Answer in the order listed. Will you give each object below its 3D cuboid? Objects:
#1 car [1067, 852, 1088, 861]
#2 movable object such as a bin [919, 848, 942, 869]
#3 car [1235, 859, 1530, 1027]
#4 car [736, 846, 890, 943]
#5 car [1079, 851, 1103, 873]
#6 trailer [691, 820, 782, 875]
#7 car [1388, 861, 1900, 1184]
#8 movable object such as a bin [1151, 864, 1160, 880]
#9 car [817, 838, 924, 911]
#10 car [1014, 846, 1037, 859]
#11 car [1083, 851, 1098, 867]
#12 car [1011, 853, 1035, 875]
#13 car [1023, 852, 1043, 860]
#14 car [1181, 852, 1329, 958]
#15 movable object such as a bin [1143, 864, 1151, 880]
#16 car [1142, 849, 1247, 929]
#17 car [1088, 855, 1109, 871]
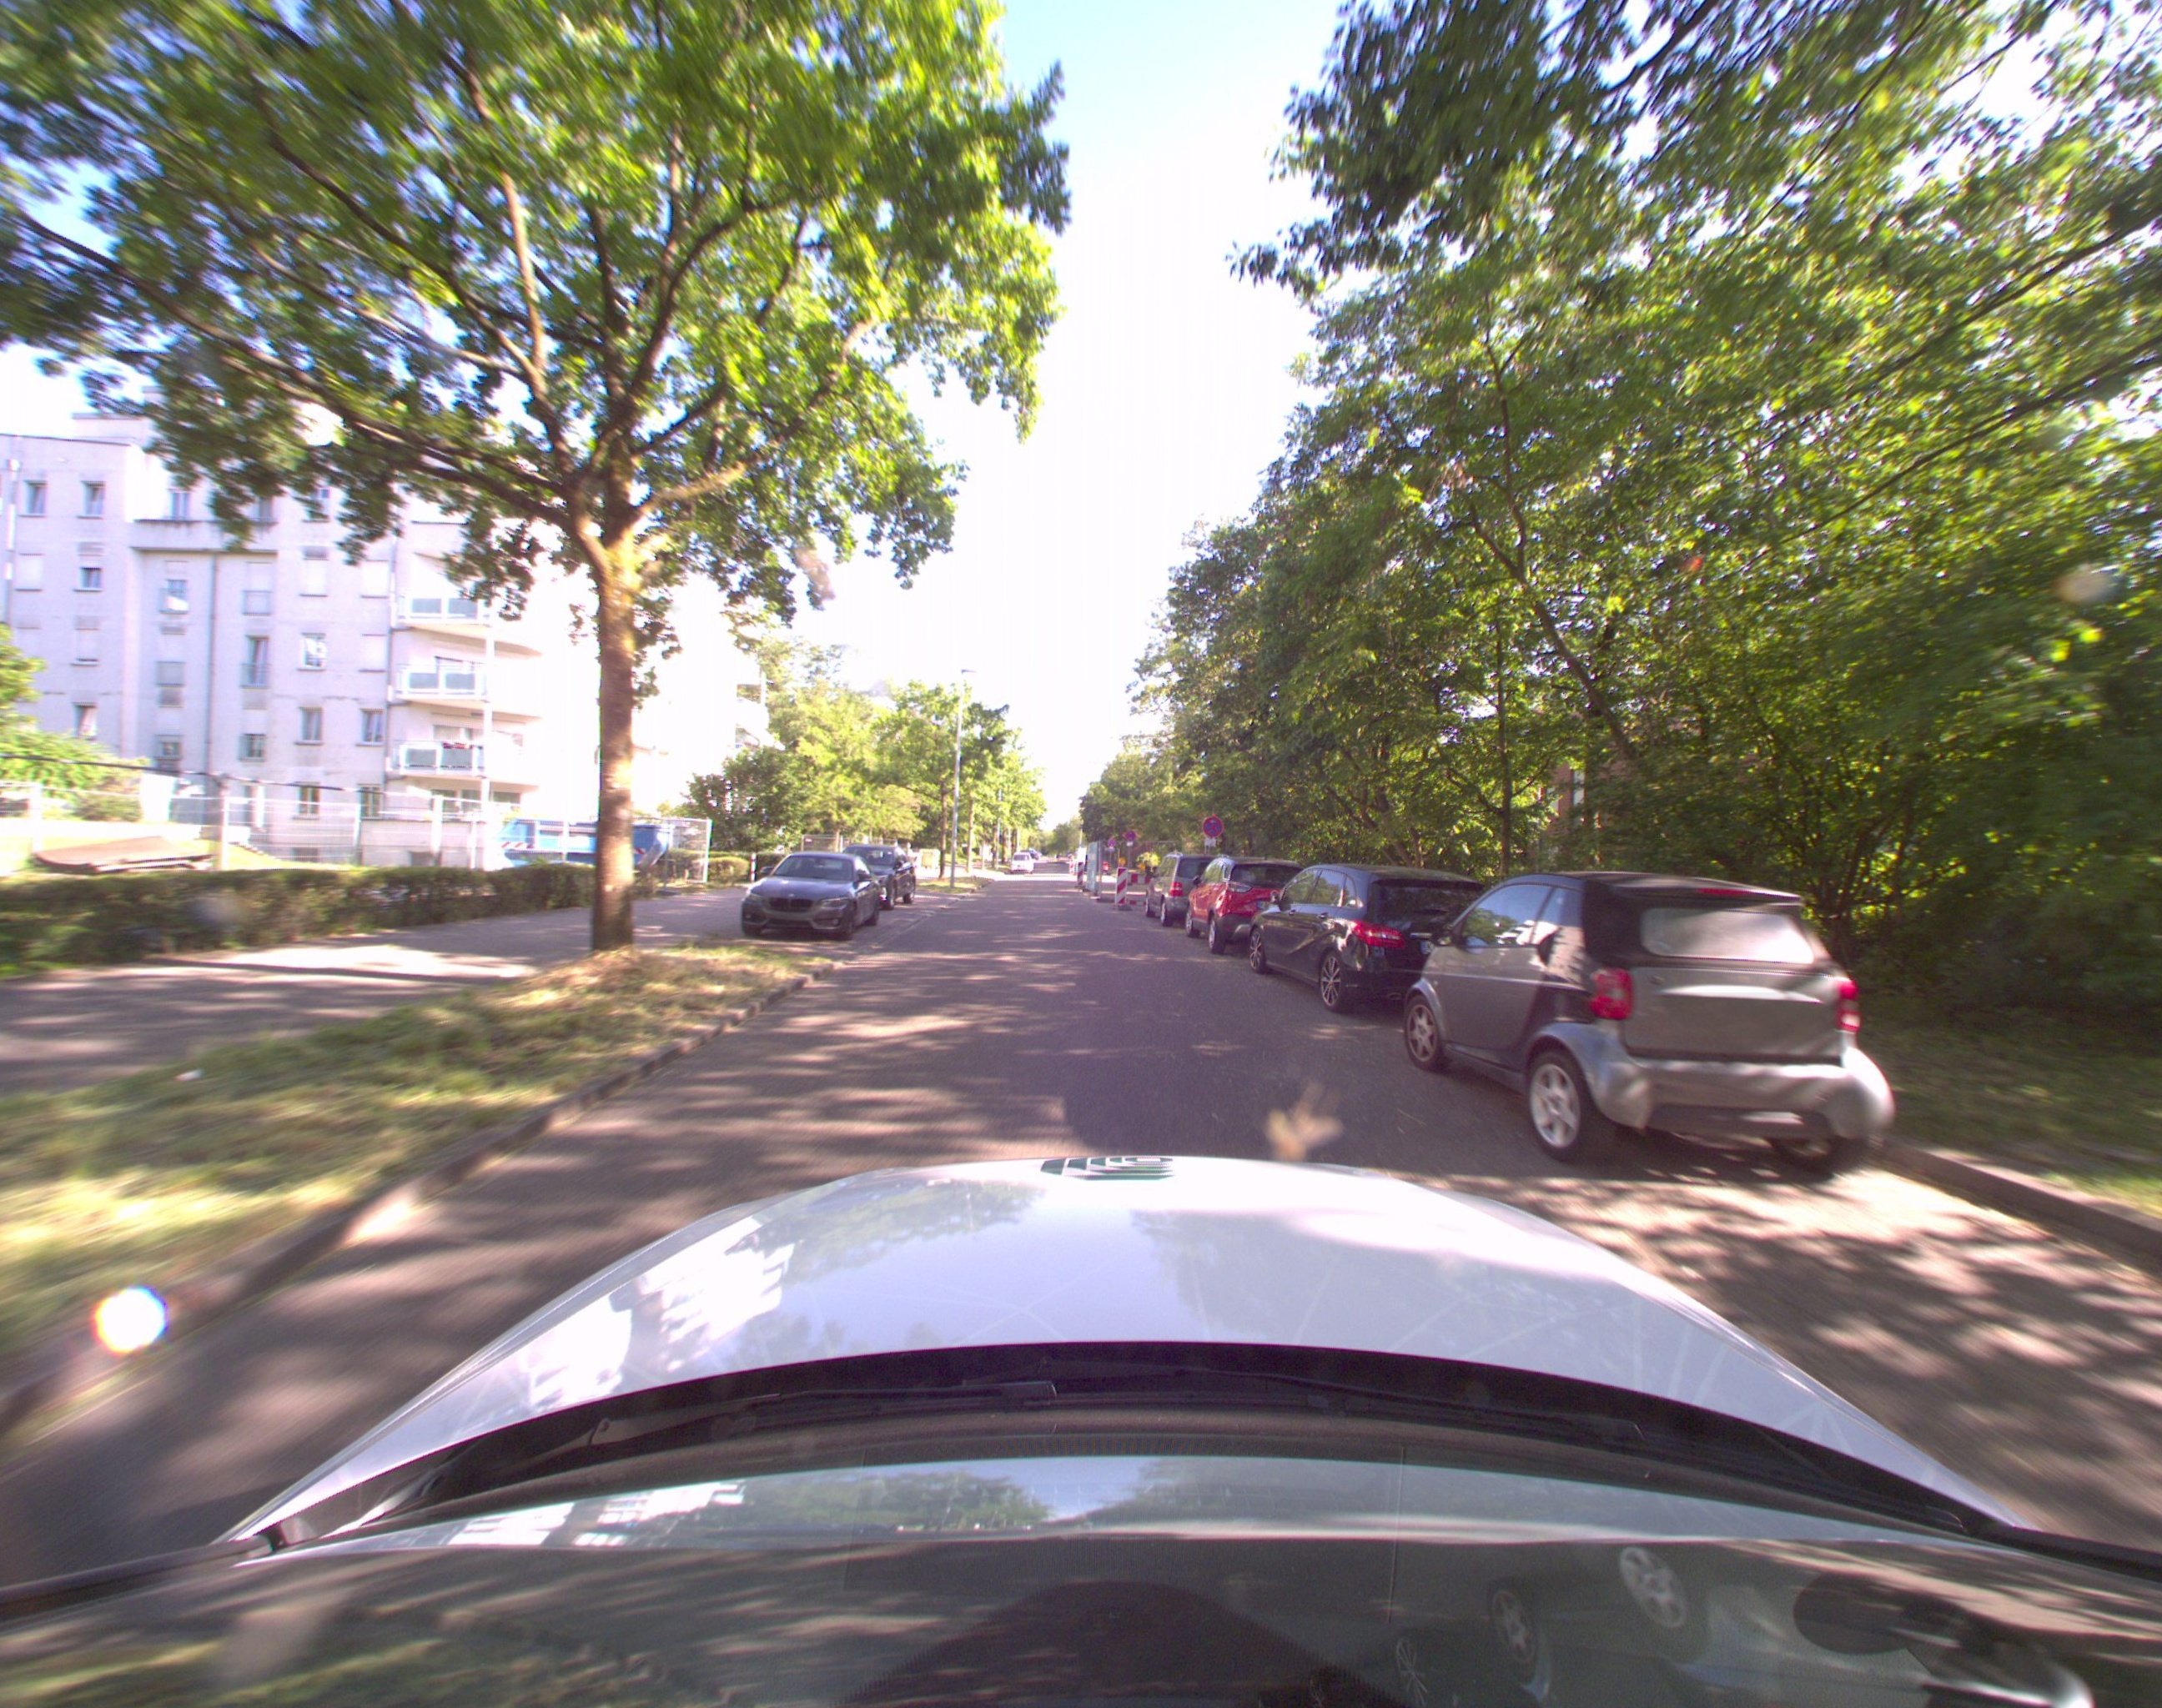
[{"bbox_3d":[-0.718,0.549,159.553,3.821,1.576,1.690,3,0,4],"label":"car"},{"bbox_3d":[-10.874,0.325,58.866,1.260,1.435,1.186,1,0,14],"label":"movable object such as a bin"},{"bbox_3d":[3.285,0.865,9.836,1.709,1.509,4.142,2,0,-5],"label":"car"},{"bbox_3d":[-4.679,0.632,14.852,1.713,1.432,4.129,3,0,-6],"label":"car"},{"bbox_3d":[0.883,0.652,67.771,1.803,1.651,4.423,3,0,2],"label":"car"},{"bbox_3d":[-14.862,-0.261,35.400,1.857,2.120,4.347,3,0,2],"label":"trailer"},{"bbox_3d":[3.282,0.841,5.353,1.489,1.509,2.676,2,0,0],"label":"car"},{"bbox_3d":[4.047,0.976,44.093,0.411,0.870,0.484,0,-1,-2],"label":"movable object such as a bin"},{"bbox_3d":[-5.394,0.486,21.460,1.771,1.621,4.217,3,0,-2],"label":"car"},{"bbox_3d":[-12.850,-0.358,188.804,5.195,2.621,2.288,3,0,-7],"label":"car"},{"bbox_3d":[1.100,0.607,99.046,1.619,1.773,3.666,3,0,-2],"label":"car"},{"bbox_3d":[-4.409,0.718,62.088,1.655,1.596,4.004,2,0,-3],"label":"car"},{"bbox_3d":[-10.641,0.418,179.950,4.094,1.576,1.958,3,0,-1],"label":"car"},{"bbox_3d":[2.925,0.782,14.575,1.674,1.574,4.064,2,0,-1],"label":"car"},{"bbox_3d":[3.559,0.979,44.053,0.411,0.870,0.484,0,-1,-2],"label":"movable object such as a bin"},{"bbox_3d":[2.575,0.735,19.328,1.675,1.621,4.133,2,0,-3],"label":"car"},{"bbox_3d":[1.579,0.820,74.493,1.657,1.375,4.151,3,0,-2],"label":"car"}]
